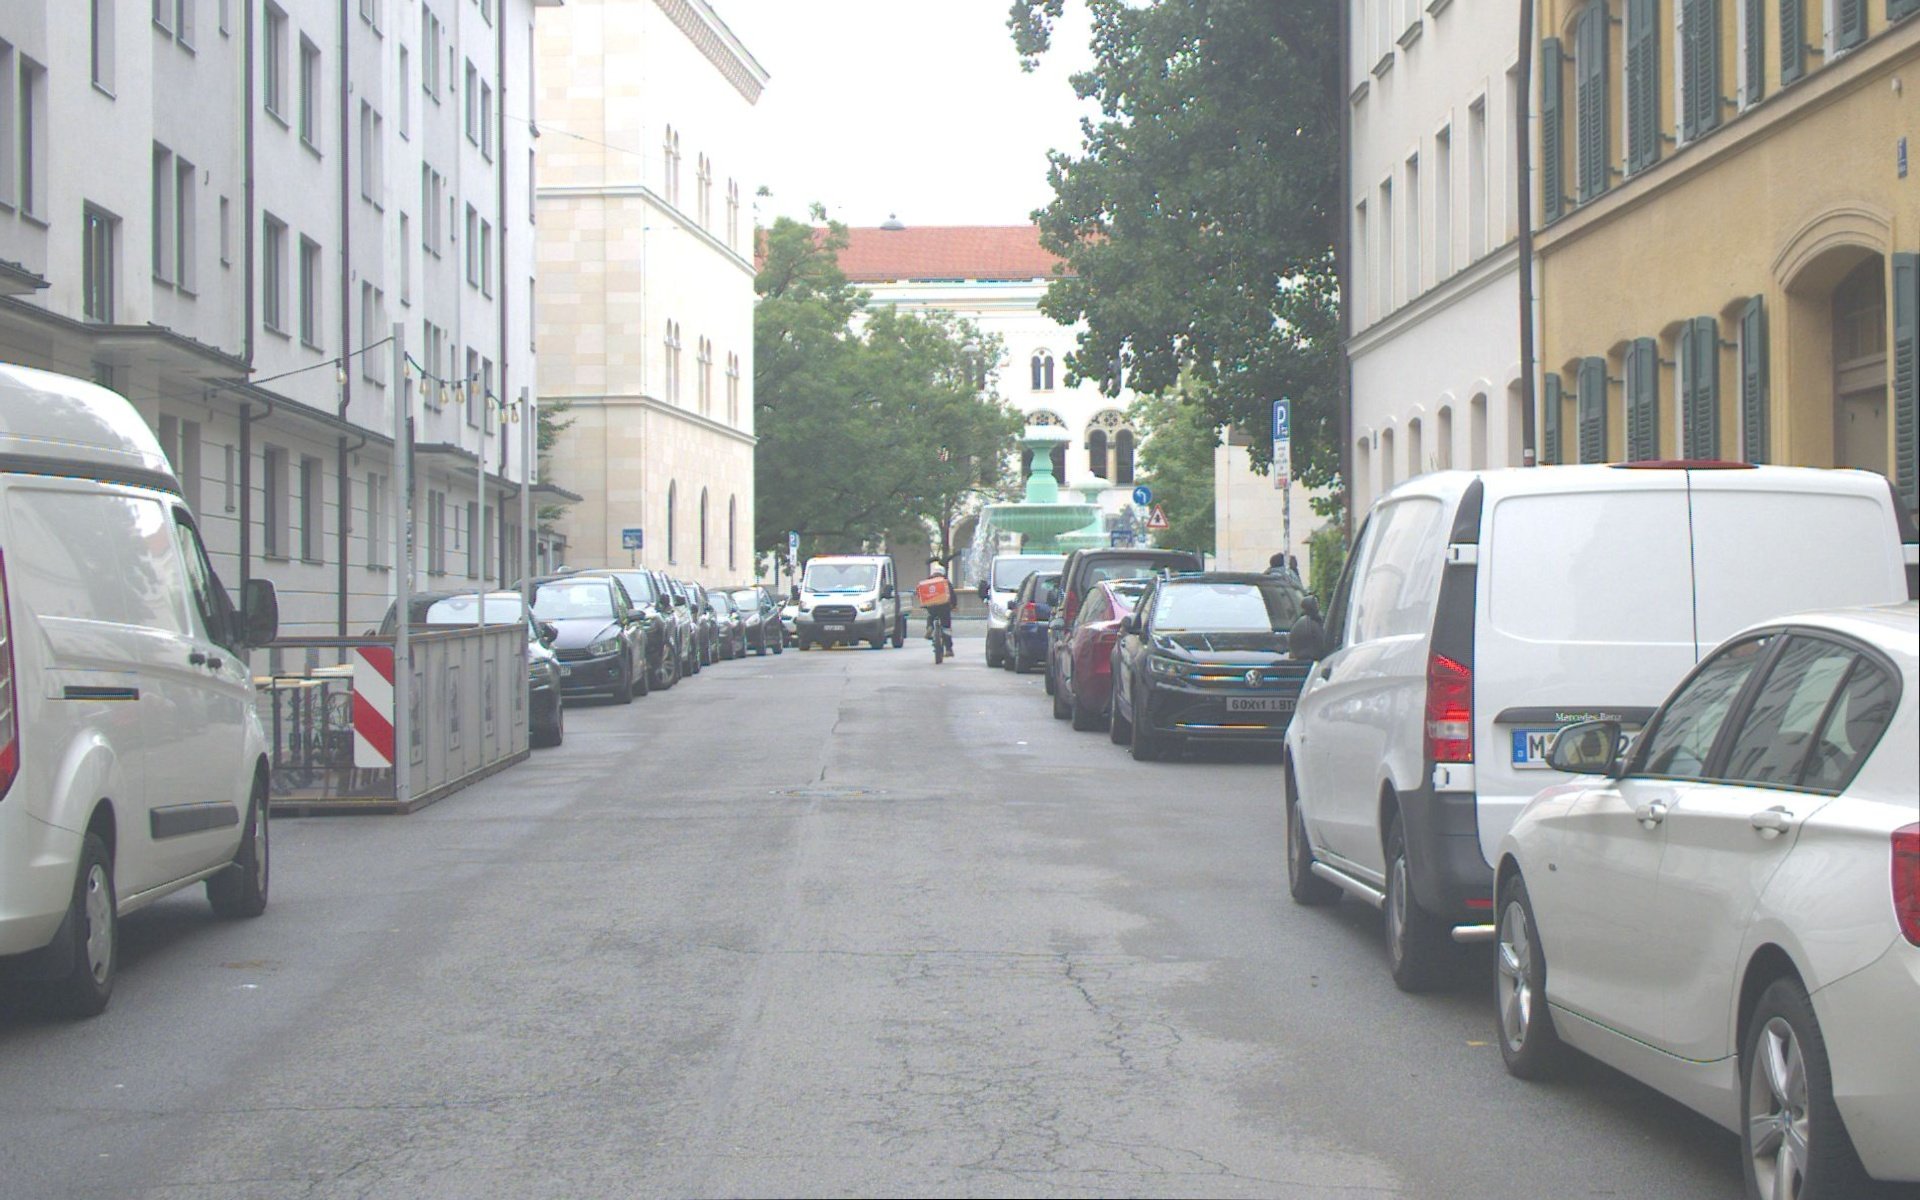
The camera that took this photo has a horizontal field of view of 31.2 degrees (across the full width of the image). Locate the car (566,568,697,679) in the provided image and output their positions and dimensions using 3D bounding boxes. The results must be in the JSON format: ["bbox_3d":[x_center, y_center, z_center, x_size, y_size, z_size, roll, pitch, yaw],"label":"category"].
[{"bbox_3d":[-5.001,0.336,52.699,1.706,1.604,3.863,-1,0,-2],"label":"car"}]

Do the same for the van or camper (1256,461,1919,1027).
[{"bbox_3d":[2.362,0.455,13.899,1.833,1.865,5.079,0,0,-1],"label":"van or camper"}]

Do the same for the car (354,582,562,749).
[{"bbox_3d":[-4.668,0.566,31.998,1.761,1.406,4.156,-2,0,-8],"label":"car"}]

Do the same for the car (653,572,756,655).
[{"bbox_3d":[-5.194,0.261,70.267,1.706,1.604,3.863,-1,0,1],"label":"car"}]

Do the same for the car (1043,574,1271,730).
[{"bbox_3d":[1.872,0.474,33.889,1.811,1.420,4.247,1,0,-2],"label":"car"}]

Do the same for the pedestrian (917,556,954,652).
[{"bbox_3d":[-0.440,0.084,61.926,0.642,1.708,0.843,-1,-1,0],"label":"pedestrian"}]

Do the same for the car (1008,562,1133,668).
[{"bbox_3d":[1.725,0.228,54.874,1.811,1.609,4.156,-1,0,0],"label":"car"}]

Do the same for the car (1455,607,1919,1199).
[{"bbox_3d":[2.508,0.732,8.674,1.708,1.388,4.207,0,0,-3],"label":"car"}]

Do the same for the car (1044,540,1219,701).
[{"bbox_3d":[1.982,0.220,40.783,1.811,1.791,4.247,1,0,0],"label":"car"}]

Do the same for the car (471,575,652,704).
[{"bbox_3d":[-4.771,0.447,41.578,1.817,1.439,3.818,-1,0,-2],"label":"car"}]

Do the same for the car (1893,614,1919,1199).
[{"bbox_3d":[2.594,0.760,4.016,1.708,1.449,4.097,0,0,-3],"label":"car"}]

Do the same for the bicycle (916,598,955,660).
[{"bbox_3d":[-0.444,0.519,61.921,0.675,1.091,1.760,-1,-1,0],"label":"bicycle"}]

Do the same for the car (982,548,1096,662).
[{"bbox_3d":[1.360,0.071,60.725,1.852,1.913,4.769,-1,0,0],"label":"car"}]

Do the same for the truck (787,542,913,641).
[{"bbox_3d":[-2.567,-0.169,82.152,2.121,2.240,6.183,-1,0,6],"label":"truck"}]

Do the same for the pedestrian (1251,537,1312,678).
[{"bbox_3d":[4.619,0.114,49.410,0.669,1.974,0.708,-4,-1,0],"label":"pedestrian"}]

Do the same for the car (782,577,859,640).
[{"bbox_3d":[-3.634,0.203,89.928,1.706,1.576,3.863,-1,0,2],"label":"car"}]

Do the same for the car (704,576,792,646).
[{"bbox_3d":[-4.991,0.246,81.345,1.706,1.576,3.863,-1,0,2],"label":"car"}]

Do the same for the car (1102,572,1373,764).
[{"bbox_3d":[2.223,0.516,28.548,1.811,1.460,4.247,1,0,-1],"label":"car"}]

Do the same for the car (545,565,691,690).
[{"bbox_3d":[-4.677,0.352,47.403,1.706,1.604,3.863,-1,0,-2],"label":"car"}]

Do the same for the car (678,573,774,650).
[{"bbox_3d":[-5.092,0.234,75.284,1.706,1.604,3.863,-1,0,1],"label":"car"}]

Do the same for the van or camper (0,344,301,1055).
[{"bbox_3d":[-3.909,0.303,13.594,1.754,2.273,5.274,0,0,-2],"label":"van or camper"}]
